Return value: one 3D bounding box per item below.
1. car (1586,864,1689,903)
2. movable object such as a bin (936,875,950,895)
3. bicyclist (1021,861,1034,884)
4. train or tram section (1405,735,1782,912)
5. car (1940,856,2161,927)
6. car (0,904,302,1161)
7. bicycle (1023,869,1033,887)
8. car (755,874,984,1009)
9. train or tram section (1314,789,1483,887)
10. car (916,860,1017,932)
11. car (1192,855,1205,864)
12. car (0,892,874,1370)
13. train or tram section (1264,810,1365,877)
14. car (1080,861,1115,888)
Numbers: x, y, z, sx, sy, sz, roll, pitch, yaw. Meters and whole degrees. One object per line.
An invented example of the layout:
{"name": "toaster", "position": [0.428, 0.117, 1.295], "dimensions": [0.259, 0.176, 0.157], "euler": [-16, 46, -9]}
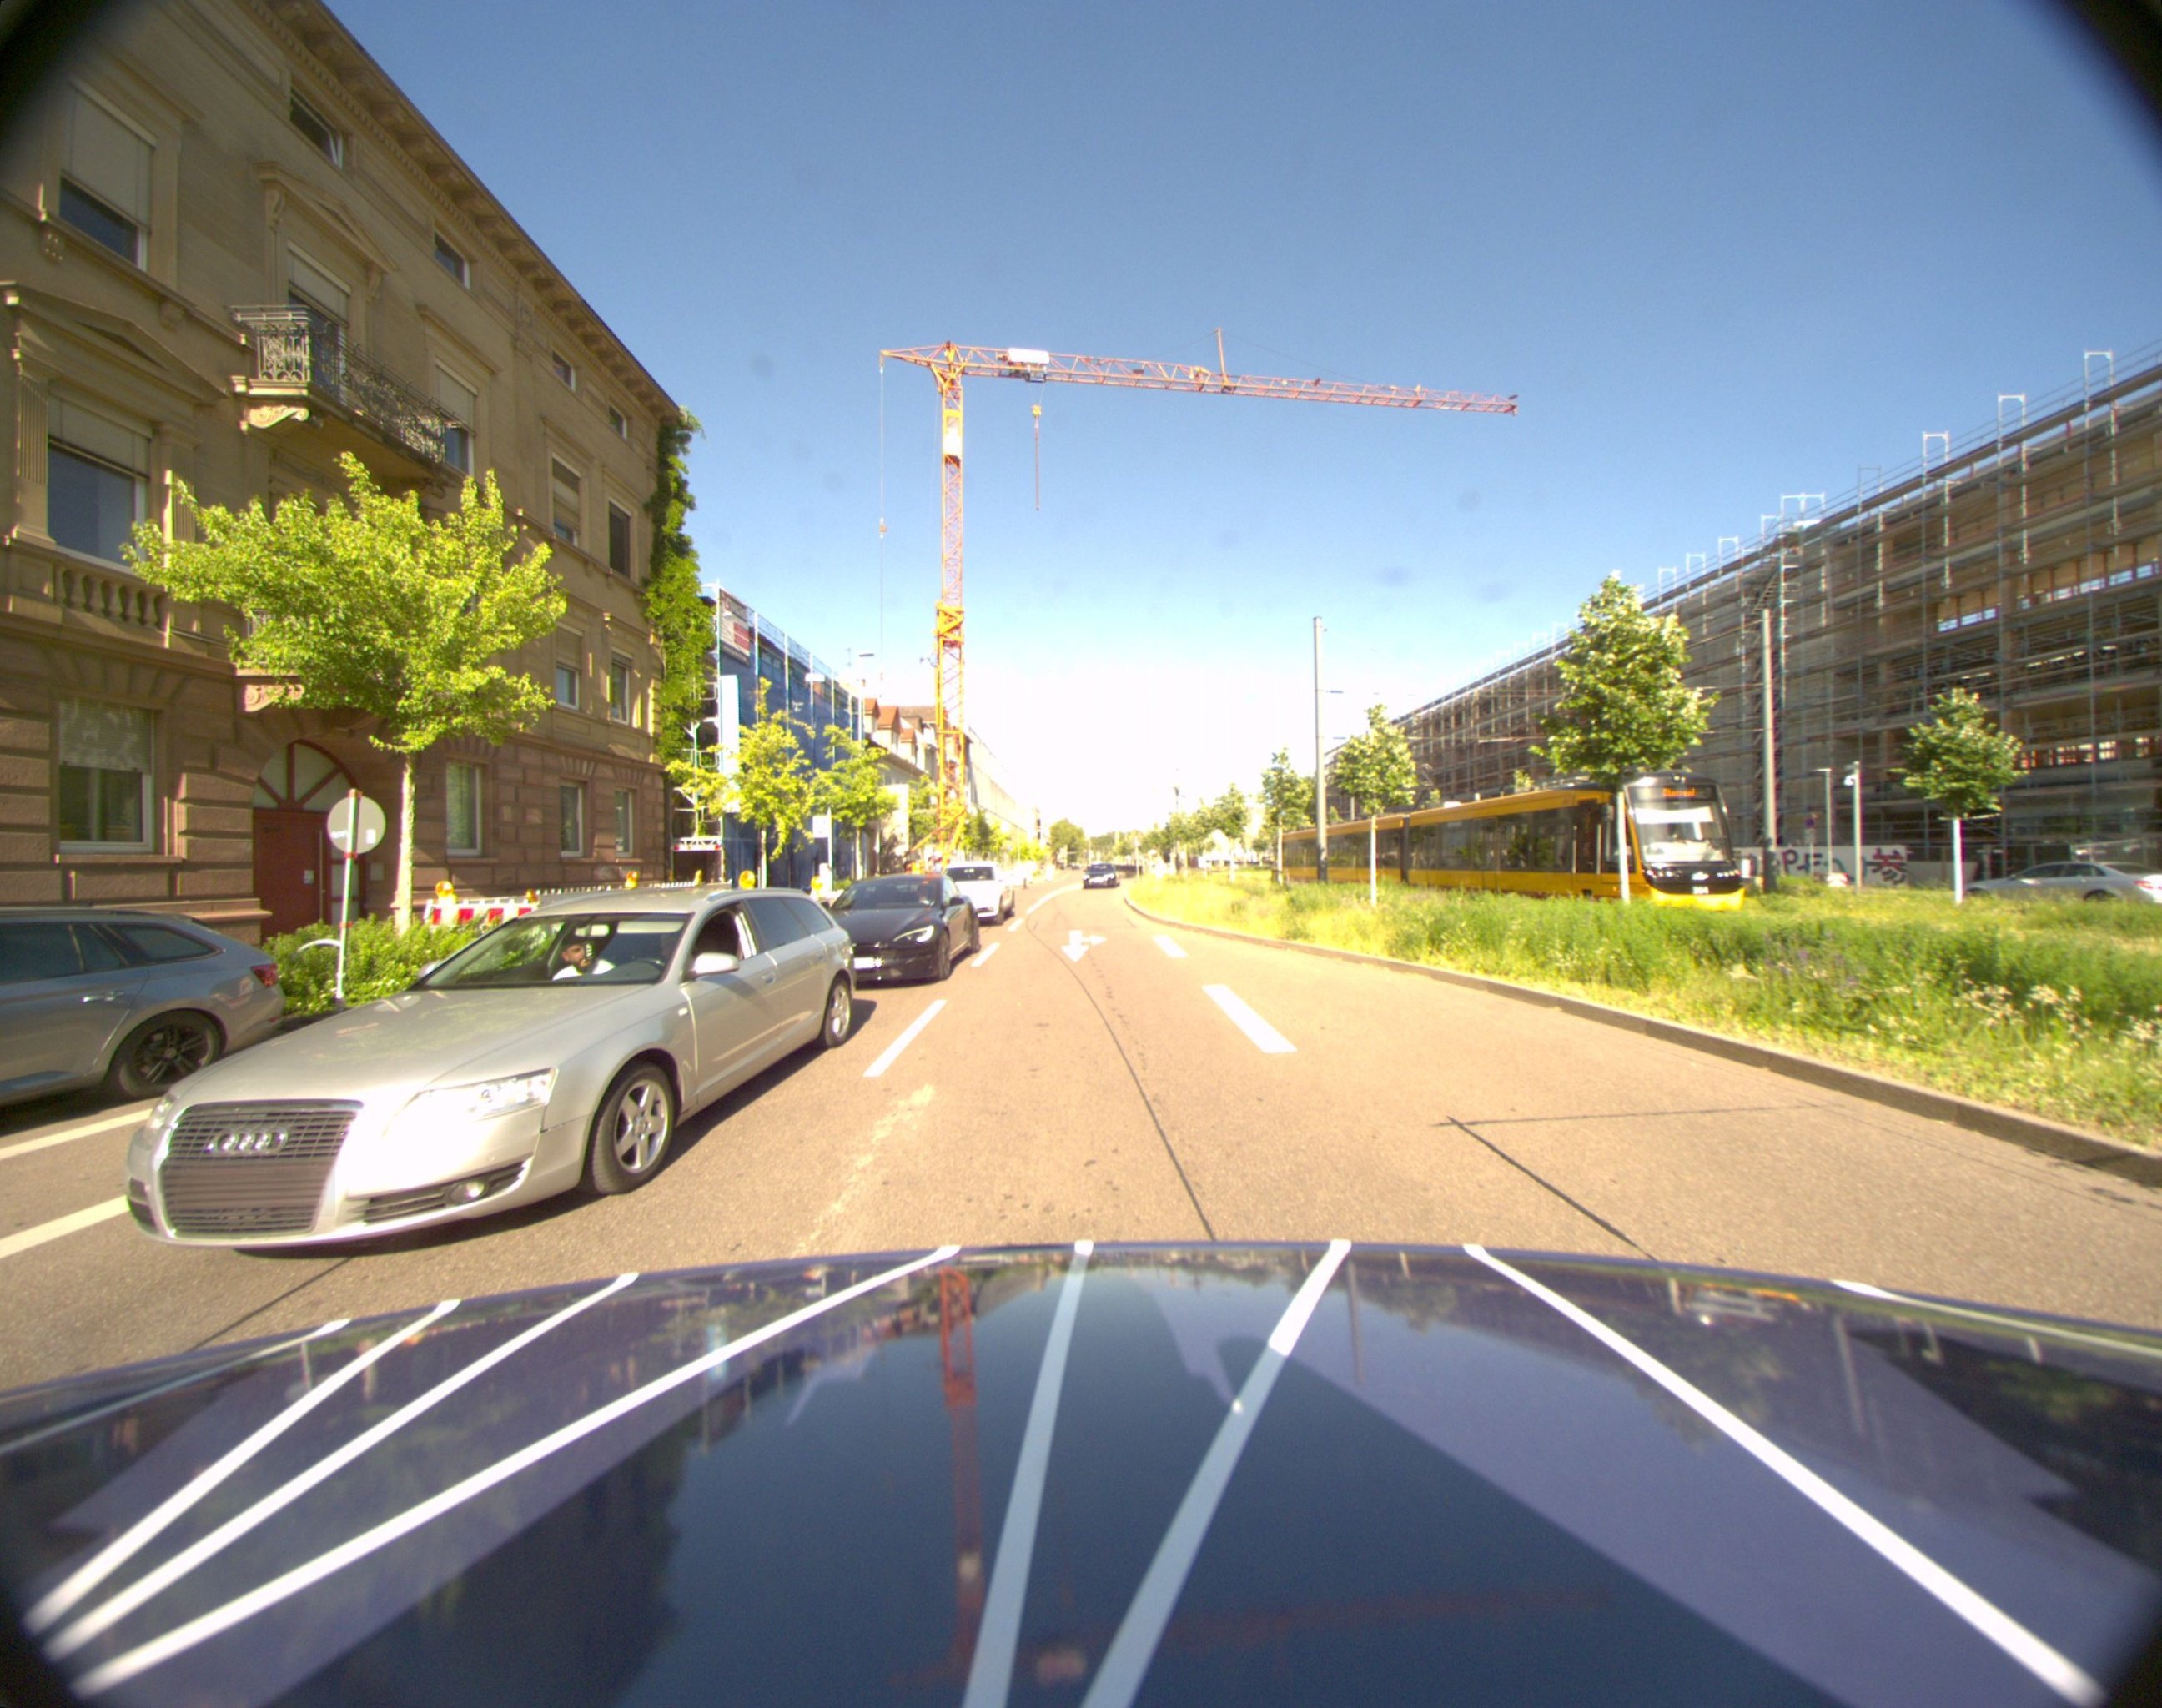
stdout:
{"name": "car", "position": [28.250, 1.440, 38.778], "dimensions": [1.998, 1.782, 4.527], "euler": [-1, 0, 2]}
{"name": "movable object such as a bin", "position": [-7.647, 1.722, 42.128], "dimensions": [0.597, 1.051, 0.730], "euler": [3, 0, 1]}
{"name": "bicyclist", "position": [-3.436, 1.174, 48.824], "dimensions": [0.755, 1.454, 0.587], "euler": [-2, 1, -5]}
{"name": "train or tram section", "position": [13.253, -0.614, 22.017], "dimensions": [2.822, 3.617, 12.792], "euler": [-1, 0, 3]}
{"name": "car", "position": [27.858, 0.953, 21.473], "dimensions": [1.999, 1.782, 4.527], "euler": [-1, 0, -1]}
{"name": "car", "position": [-7.670, 1.187, 4.302], "dimensions": [1.652, 1.466, 4.700], "euler": [2, 0, 0]}
{"name": "bicycle", "position": [-3.423, 1.522, 48.872], "dimensions": [0.610, 1.144, 1.986], "euler": [0, 0, -5]}
{"name": "car", "position": [-2.793, 1.093, 11.250], "dimensions": [2.056, 1.435, 4.524], "euler": [-2, 0, 0]}
{"name": "train or tram section", "position": [13.821, -0.579, 34.796], "dimensions": [2.822, 3.617, 12.791], "euler": [-1, 0, 2]}
{"name": "car", "position": [-2.884, 1.017, 19.995], "dimensions": [1.934, 1.623, 4.000], "euler": [-2, 0, 1]}
{"name": "car", "position": [28.803, 1.266, 186.366], "dimensions": [2.338, 2.146, 4.397], "euler": [-1, 0, 0]}
{"name": "car", "position": [-3.027, 1.092, 5.051], "dimensions": [1.752, 1.419, 4.839], "euler": [-2, 0, 2]}
{"name": "train or tram section", "position": [14.187, -0.559, 47.605], "dimensions": [2.822, 3.617, 12.791], "euler": [-1, 0, 2]}
{"name": "car", "position": [1.016, 1.162, 44.291], "dimensions": [1.927, 1.434, 4.178], "euler": [-1, 0, 3]}
